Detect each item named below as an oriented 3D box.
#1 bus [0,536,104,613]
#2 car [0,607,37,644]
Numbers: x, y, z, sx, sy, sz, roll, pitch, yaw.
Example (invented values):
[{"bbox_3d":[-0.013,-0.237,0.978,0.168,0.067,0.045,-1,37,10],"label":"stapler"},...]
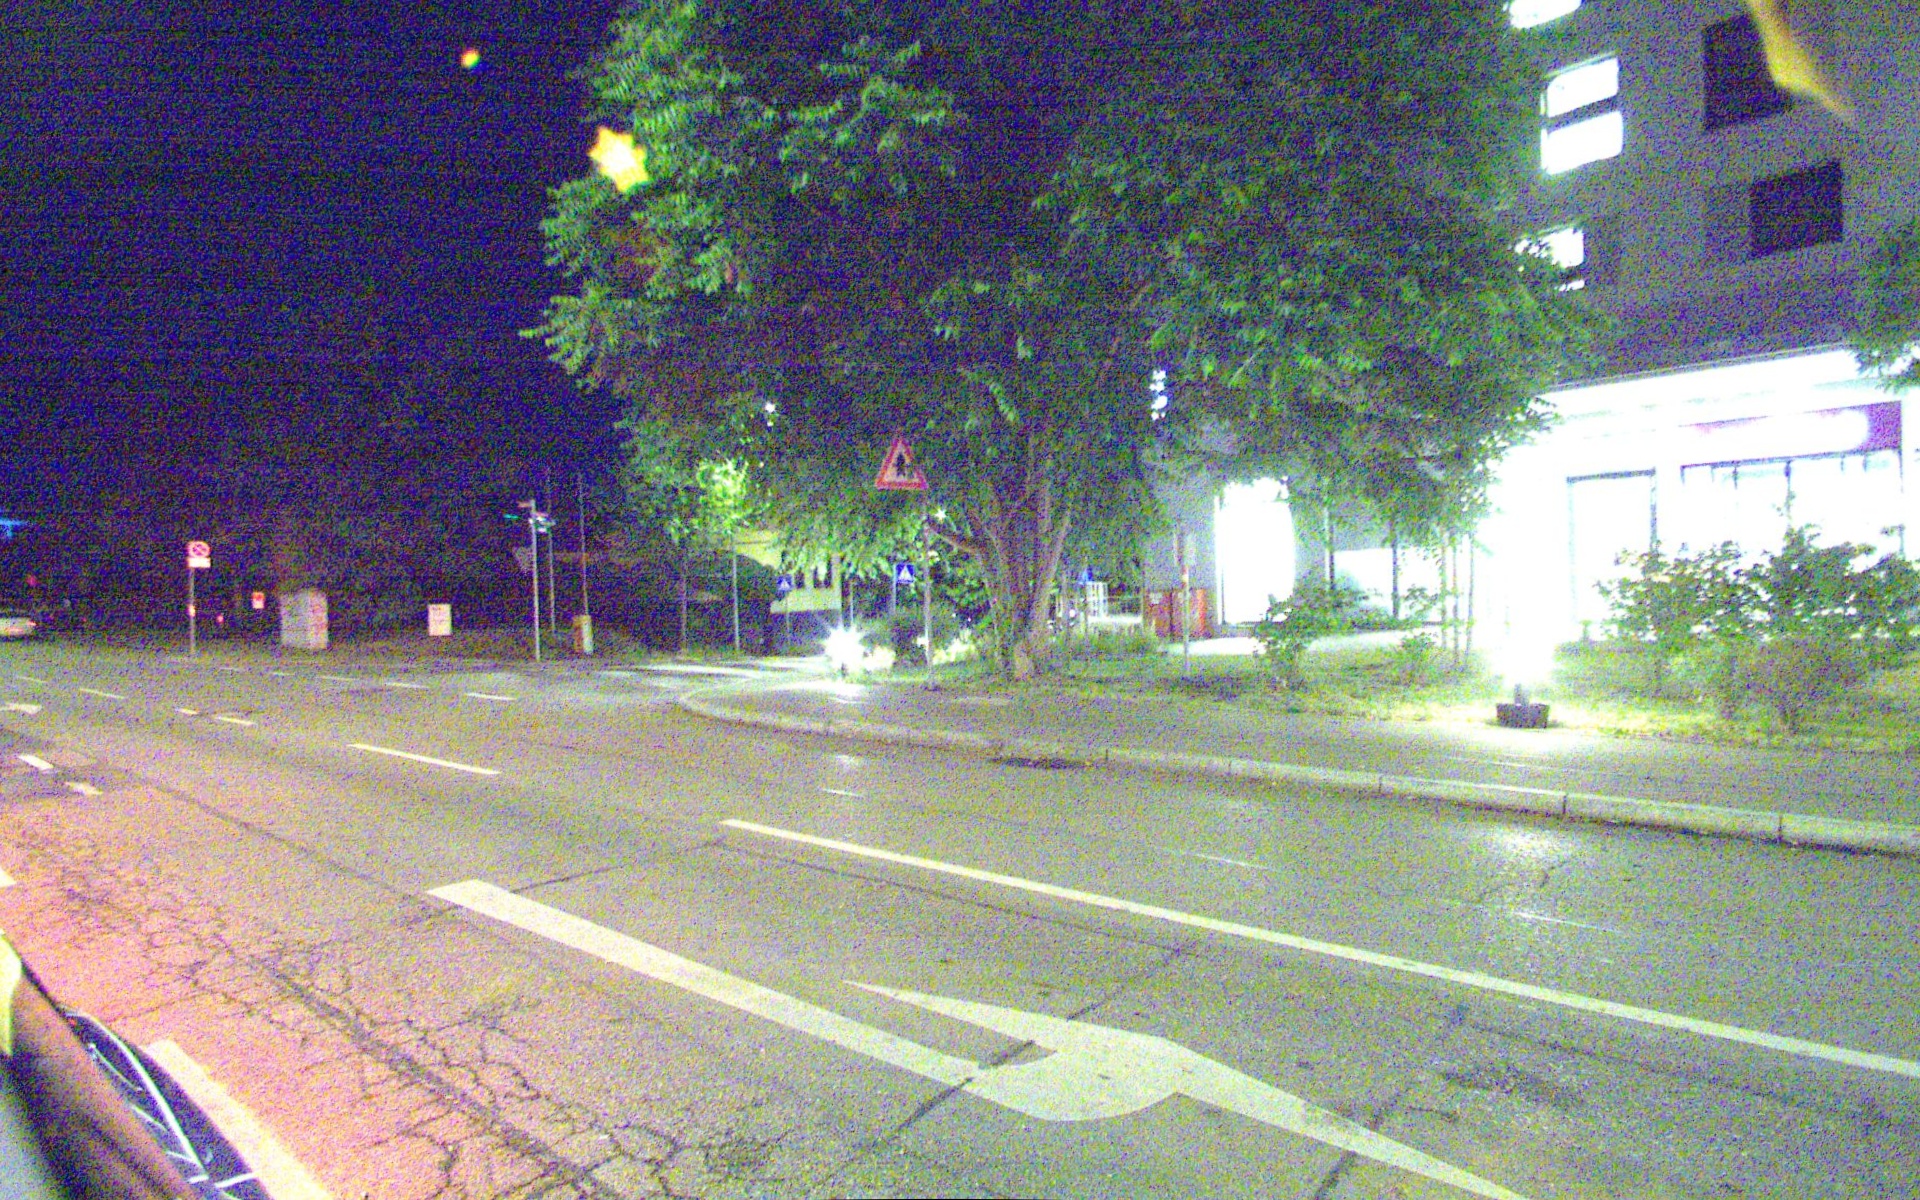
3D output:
[{"bbox_3d":[-88.428,-2.259,98.189,14.776,6.990,6.056,-1,0,41],"label":"bus"},{"bbox_3d":[-43.223,1.142,45.677,3.997,1.604,1.783,-1,0,40],"label":"car"}]
